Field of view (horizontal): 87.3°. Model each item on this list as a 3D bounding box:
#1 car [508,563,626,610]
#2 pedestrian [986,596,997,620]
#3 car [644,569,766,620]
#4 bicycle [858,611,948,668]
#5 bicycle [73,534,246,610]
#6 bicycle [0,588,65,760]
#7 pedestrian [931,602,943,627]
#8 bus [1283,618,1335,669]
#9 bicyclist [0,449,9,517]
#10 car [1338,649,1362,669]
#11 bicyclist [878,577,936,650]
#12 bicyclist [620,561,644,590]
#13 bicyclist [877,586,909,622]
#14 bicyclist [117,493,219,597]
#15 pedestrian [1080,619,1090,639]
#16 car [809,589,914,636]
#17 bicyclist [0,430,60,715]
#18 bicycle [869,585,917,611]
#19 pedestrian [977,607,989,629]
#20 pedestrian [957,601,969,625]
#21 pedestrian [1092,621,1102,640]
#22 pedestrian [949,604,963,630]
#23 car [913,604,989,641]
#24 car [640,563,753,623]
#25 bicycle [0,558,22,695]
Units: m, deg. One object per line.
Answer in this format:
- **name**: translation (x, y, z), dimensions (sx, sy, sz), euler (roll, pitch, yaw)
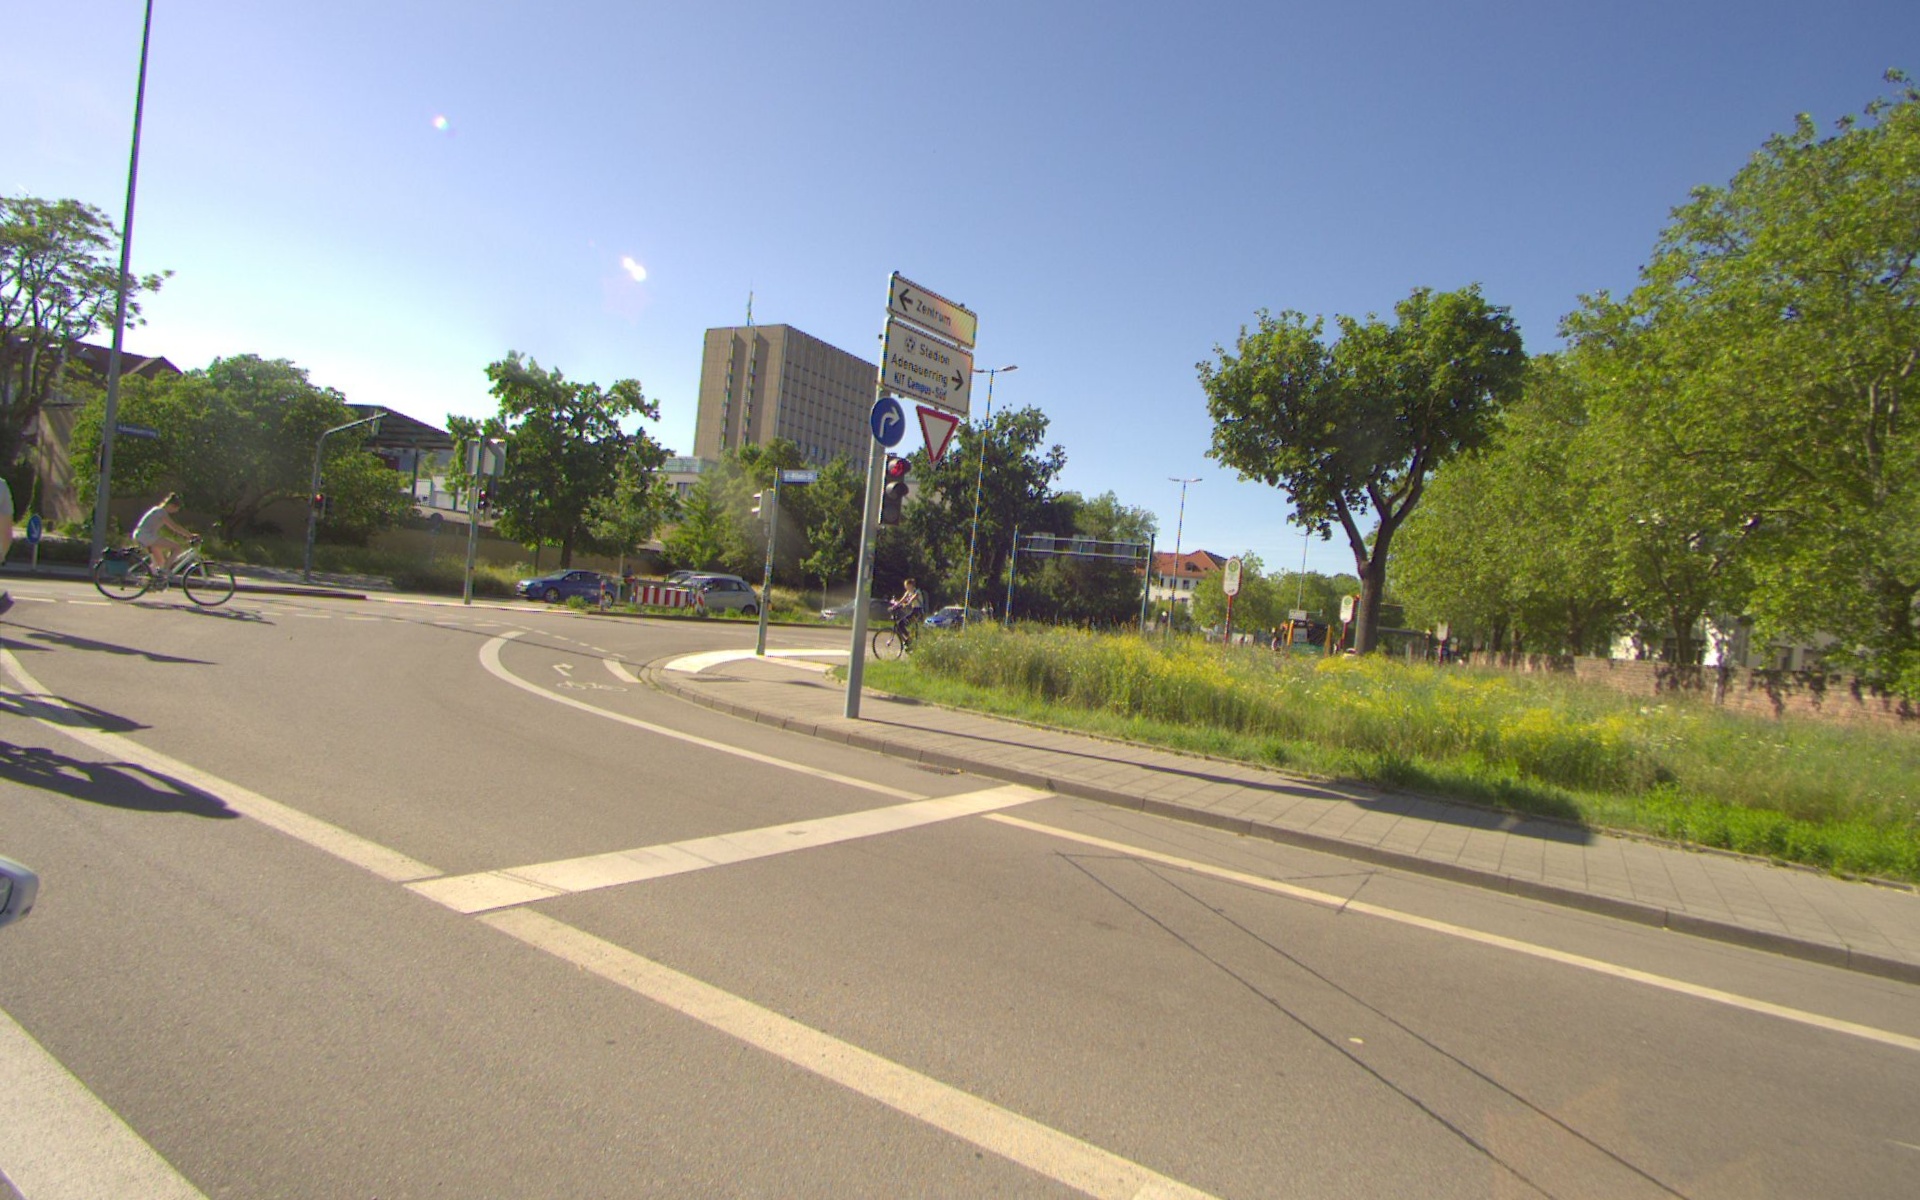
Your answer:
- **car**: translation (-16.084, -0.515, 41.336), dimensions (1.717, 1.453, 4.162), euler (7, 0, 38)
- **pedestrian**: translation (2.503, 0.633, 79.575), dimensions (0.519, 1.801, 0.561), euler (7, 1, 35)
- **car**: translation (-9.426, -0.193, 37.427), dimensions (1.840, 1.426, 4.046), euler (6, 0, 38)
- **bicycle**: translation (-1.121, 0.816, 20.329), dimensions (0.510, 1.007, 2.053), euler (7, 0, 37)
- **bicycle**: translation (-12.485, -0.418, 15.741), dimensions (0.731, 1.008, 1.980), euler (6, 2, 40)
- **bicycle**: translation (-6.287, 0.353, 6.088), dimensions (1.946, 0.906, 0.741), euler (6, -2, 33)
- **pedestrian**: translation (-1.711, 1.079, 75.516), dimensions (0.519, 1.801, 0.561), euler (7, 1, 35)
- **bus**: translation (23.653, 3.060, 67.826), dimensions (2.745, 2.662, 10.120), euler (7, -2, 21)
- **bicyclist**: translation (-8.129, -0.373, 7.777), dimensions (1.048, 1.759, 0.647), euler (7, -1, 26)
- **car**: translation (33.735, 5.115, 86.961), dimensions (1.668, 1.525, 3.773), euler (6, 0, 22)
- **bicyclist**: translation (-1.063, 0.273, 20.323), dimensions (0.510, 1.368, 1.001), euler (7, 1, 38)
- **bicyclist**: translation (-16.458, -1.216, 50.451), dimensions (0.684, 1.335, 0.826), euler (8, 4, 30)
- **bicyclist**: translation (-3.349, 0.188, 50.598), dimensions (0.778, 1.649, 1.315), euler (7, 1, 37)
- **bicyclist**: translation (-12.417, -0.852, 15.781), dimensions (0.730, 1.519, 1.067), euler (6, 2, 39)
- **pedestrian**: translation (11.850, 2.738, 95.340), dimensions (0.519, 1.801, 0.561), euler (7, 1, 35)
- **car**: translation (-4.301, 0.578, 44.706), dimensions (1.968, 1.604, 4.735), euler (6, 0, 34)
- **bicyclist**: translation (-6.212, -0.219, 6.088), dimensions (1.000, 1.688, 0.752), euler (6, -1, 33)
- **bicycle**: translation (-3.343, -0.084, 50.407), dimensions (0.778, 1.032, 2.630), euler (7, 0, 36)
- **pedestrian**: translation (1.820, 1.421, 79.965), dimensions (0.519, 1.716, 0.561), euler (7, 1, 35)
- **pedestrian**: translation (0.223, 1.006, 77.833), dimensions (0.519, 1.801, 0.561), euler (7, 1, 35)
- **pedestrian**: translation (13.060, 2.915, 95.739), dimensions (0.519, 1.801, 0.561), euler (7, 1, 35)
- **pedestrian**: translation (-0.313, 1.292, 75.117), dimensions (0.702, 1.872, 0.561), euler (7, 1, 35)
- **car**: translation (-0.382, 1.153, 50.369), dimensions (1.758, 1.448, 3.989), euler (6, 0, 34)
- **car**: translation (-12.304, -0.275, 47.327), dimensions (1.968, 2.131, 4.885), euler (6, -2, 34)
- **bicycle**: translation (-8.195, 0.088, 7.771), dimensions (1.935, 1.014, 0.661), euler (6, -1, 26)
